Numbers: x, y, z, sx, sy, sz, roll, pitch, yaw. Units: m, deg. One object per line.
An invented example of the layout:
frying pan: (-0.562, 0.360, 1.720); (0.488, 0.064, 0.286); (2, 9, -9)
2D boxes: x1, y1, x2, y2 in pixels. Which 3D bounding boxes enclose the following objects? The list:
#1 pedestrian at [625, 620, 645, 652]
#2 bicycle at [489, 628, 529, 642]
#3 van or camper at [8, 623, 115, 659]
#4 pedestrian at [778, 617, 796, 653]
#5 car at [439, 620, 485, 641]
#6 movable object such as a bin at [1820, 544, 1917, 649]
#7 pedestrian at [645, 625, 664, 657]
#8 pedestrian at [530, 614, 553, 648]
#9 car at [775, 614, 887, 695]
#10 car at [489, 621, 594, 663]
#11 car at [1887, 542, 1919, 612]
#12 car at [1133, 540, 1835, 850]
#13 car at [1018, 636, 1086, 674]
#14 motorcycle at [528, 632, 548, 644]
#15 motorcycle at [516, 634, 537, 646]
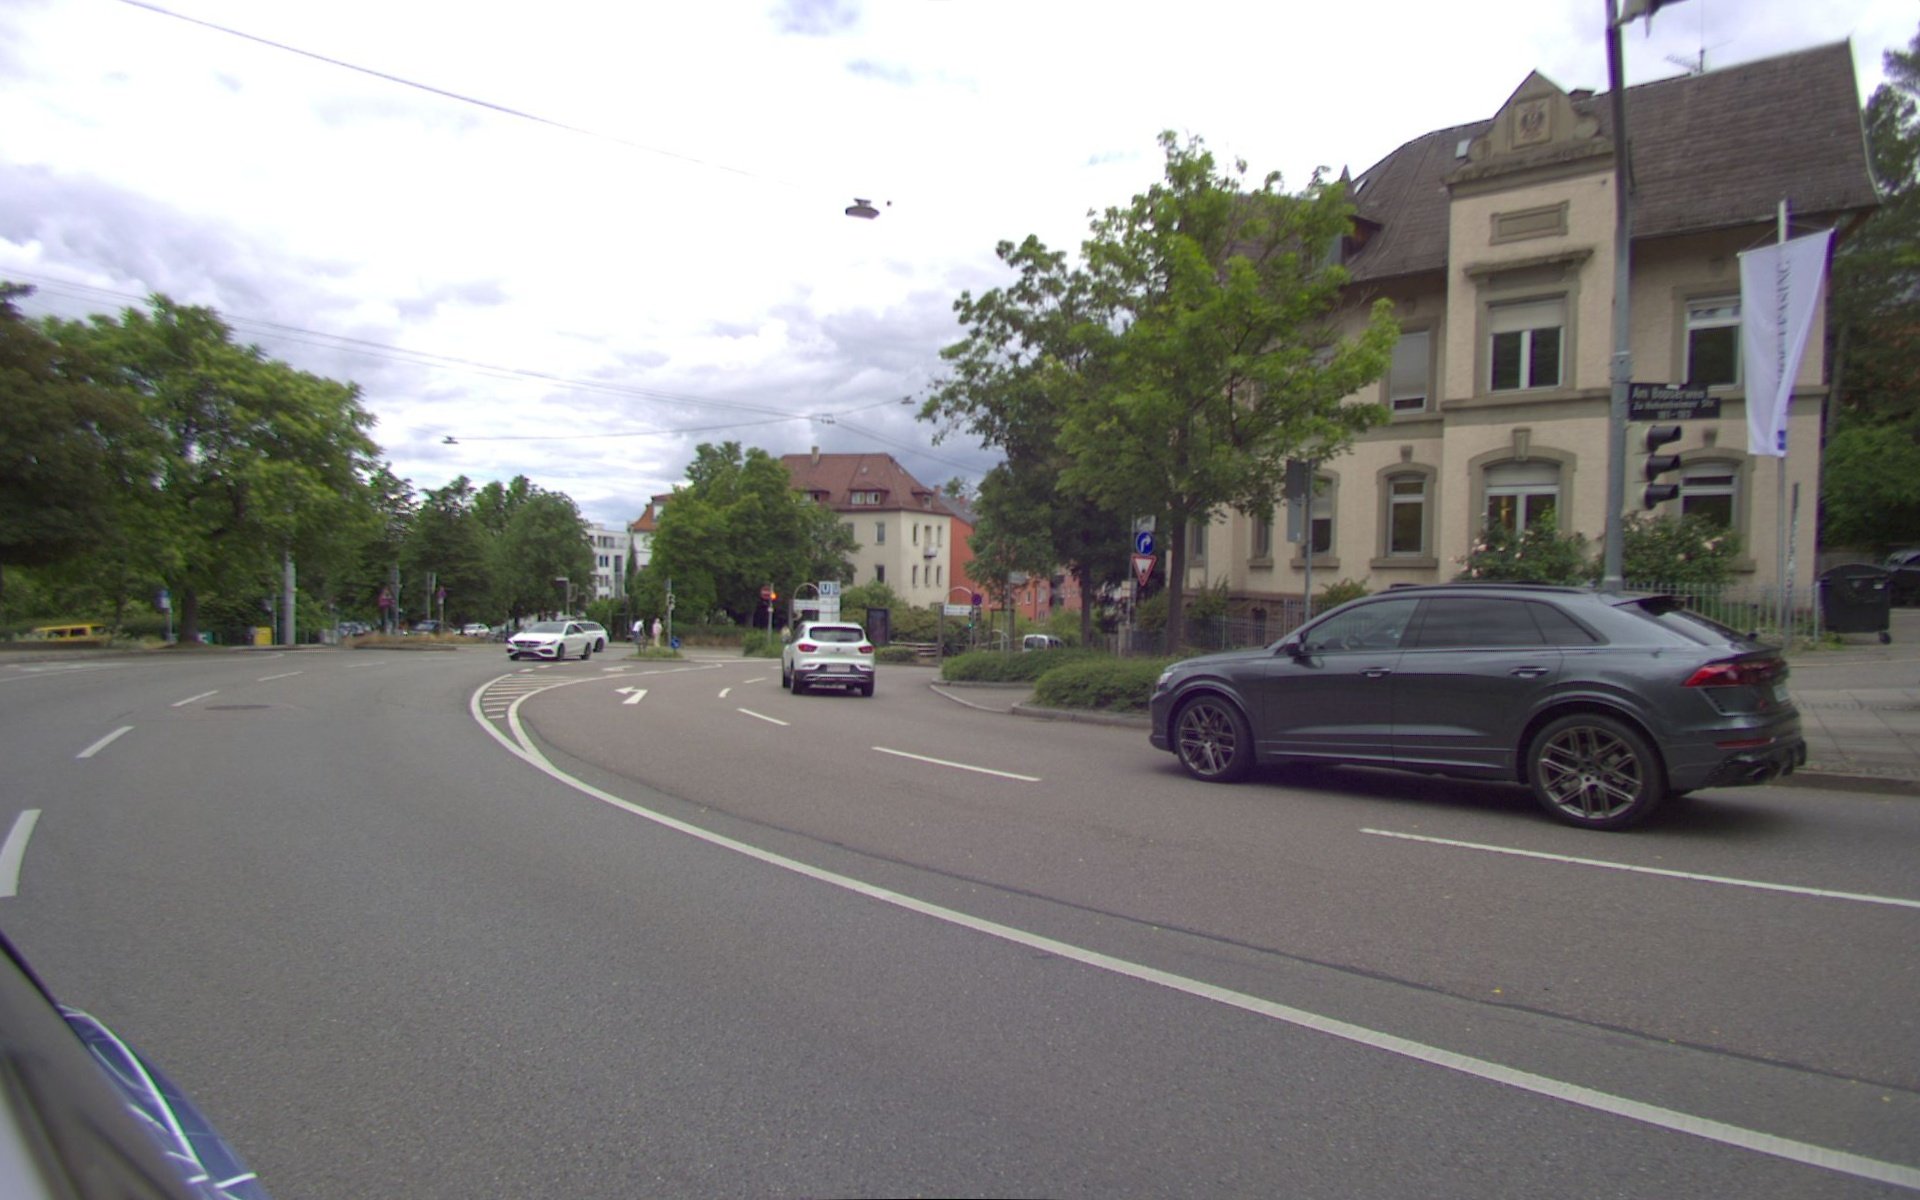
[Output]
pedestrian: (-18.023, 1.983, 56.074); (0.614, 1.725, 0.720); (3, -2, 30)
bicycle: (-37.983, 2.953, 85.302); (0.923, 1.154, 2.914); (-1, -3, 40)
van or camper: (-52.856, 2.385, 59.579); (4.401, 1.992, 1.893); (1, -1, -7)
pedestrian: (-9.325, 1.893, 54.657); (0.705, 1.875, 0.607); (-3, -5, 32)
car: (-45.782, 2.827, 93.149); (1.971, 1.918, 4.717); (1, -2, -3)
movable object such as a bin: (15.817, -0.070, 17.621); (1.200, 1.696, 0.998); (-6, 2, -38)
pedestrian: (-17.351, 2.328, 57.455); (0.614, 1.725, 0.720); (3, -2, 30)
pedestrian: (-24.166, 1.788, 58.464); (0.965, 1.901, 0.845); (-2, -3, 44)
car: (-3.047, 1.207, 23.091); (1.869, 1.667, 4.388); (1, -2, -16)
car: (-15.112, 1.508, 36.804); (1.973, 1.409, 4.227); (1, -2, 2)
car: (26.619, -0.664, 26.104); (1.976, 1.852, 3.991); (1, -2, 7)
car: (3.904, 0.636, 8.303); (1.873, 1.805, 4.763); (2, -3, -43)
car: (4.759, 2.784, 52.040); (1.911, 1.844, 3.995); (-1, -3, 32)
motorcycle: (-37.612, 3.426, 90.195); (0.746, 1.041, 2.051); (1, -2, 5)
motorcycle: (-38.720, 3.576, 90.432); (0.746, 1.041, 2.051); (1, -2, 5)
